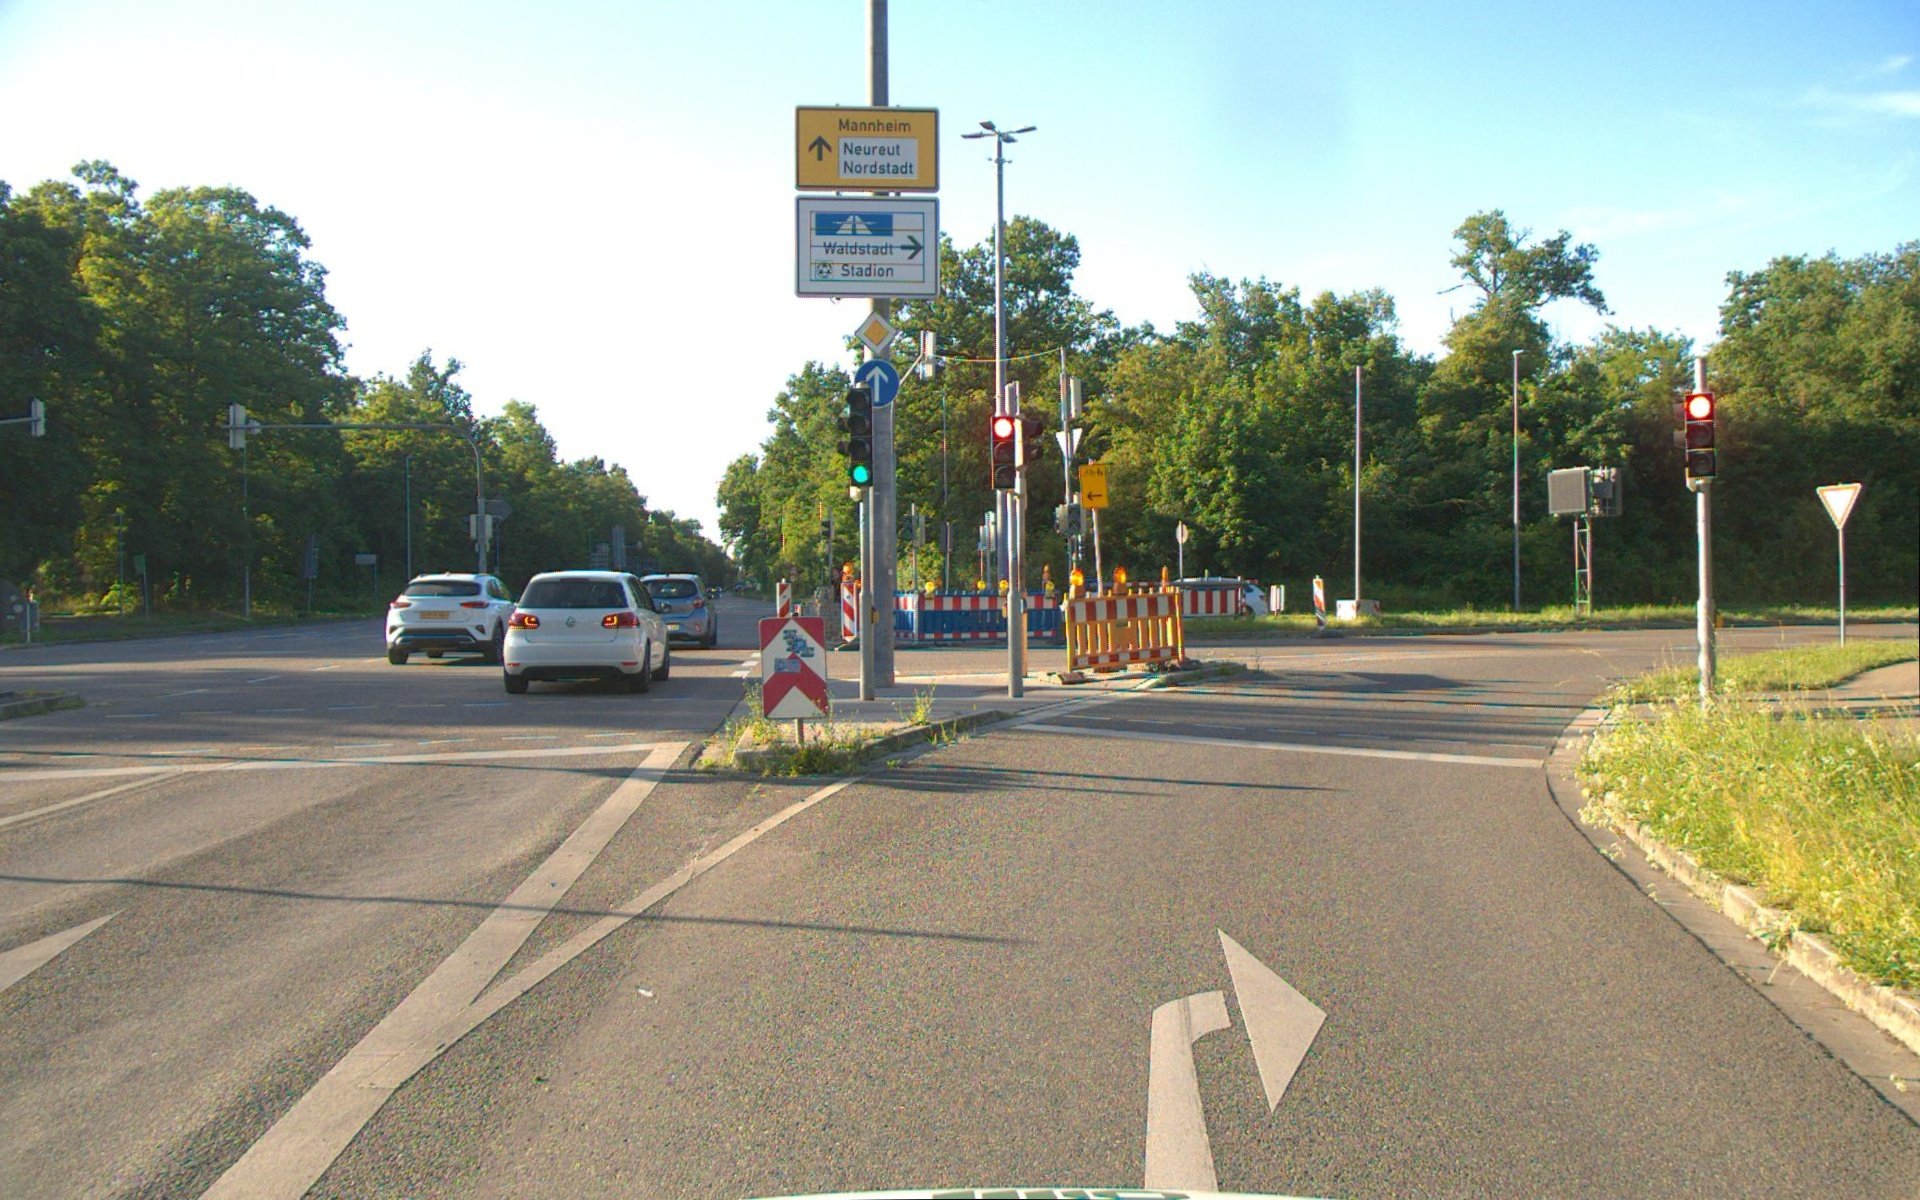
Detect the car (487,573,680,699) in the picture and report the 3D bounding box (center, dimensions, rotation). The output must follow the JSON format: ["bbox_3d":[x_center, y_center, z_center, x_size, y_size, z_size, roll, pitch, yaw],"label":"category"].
[{"bbox_3d":[-4.751,0.394,21.420,1.902,1.439,3.996,-1,1,-5],"label":"car"}]

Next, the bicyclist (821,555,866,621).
[{"bbox_3d":[-3.526,-0.361,50.167,1.005,1.963,0.956,0,1,-37],"label":"bicyclist"}]

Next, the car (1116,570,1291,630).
[{"bbox_3d":[7.075,-0.026,47.932,4.759,1.608,1.983,-1,1,-26],"label":"car"}]

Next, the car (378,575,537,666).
[{"bbox_3d":[-8.636,0.310,28.777,1.827,1.469,3.996,0,1,-5],"label":"car"}]

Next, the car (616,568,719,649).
[{"bbox_3d":[-5.989,0.140,34.272,1.956,1.563,3.992,-1,1,-9],"label":"car"}]
